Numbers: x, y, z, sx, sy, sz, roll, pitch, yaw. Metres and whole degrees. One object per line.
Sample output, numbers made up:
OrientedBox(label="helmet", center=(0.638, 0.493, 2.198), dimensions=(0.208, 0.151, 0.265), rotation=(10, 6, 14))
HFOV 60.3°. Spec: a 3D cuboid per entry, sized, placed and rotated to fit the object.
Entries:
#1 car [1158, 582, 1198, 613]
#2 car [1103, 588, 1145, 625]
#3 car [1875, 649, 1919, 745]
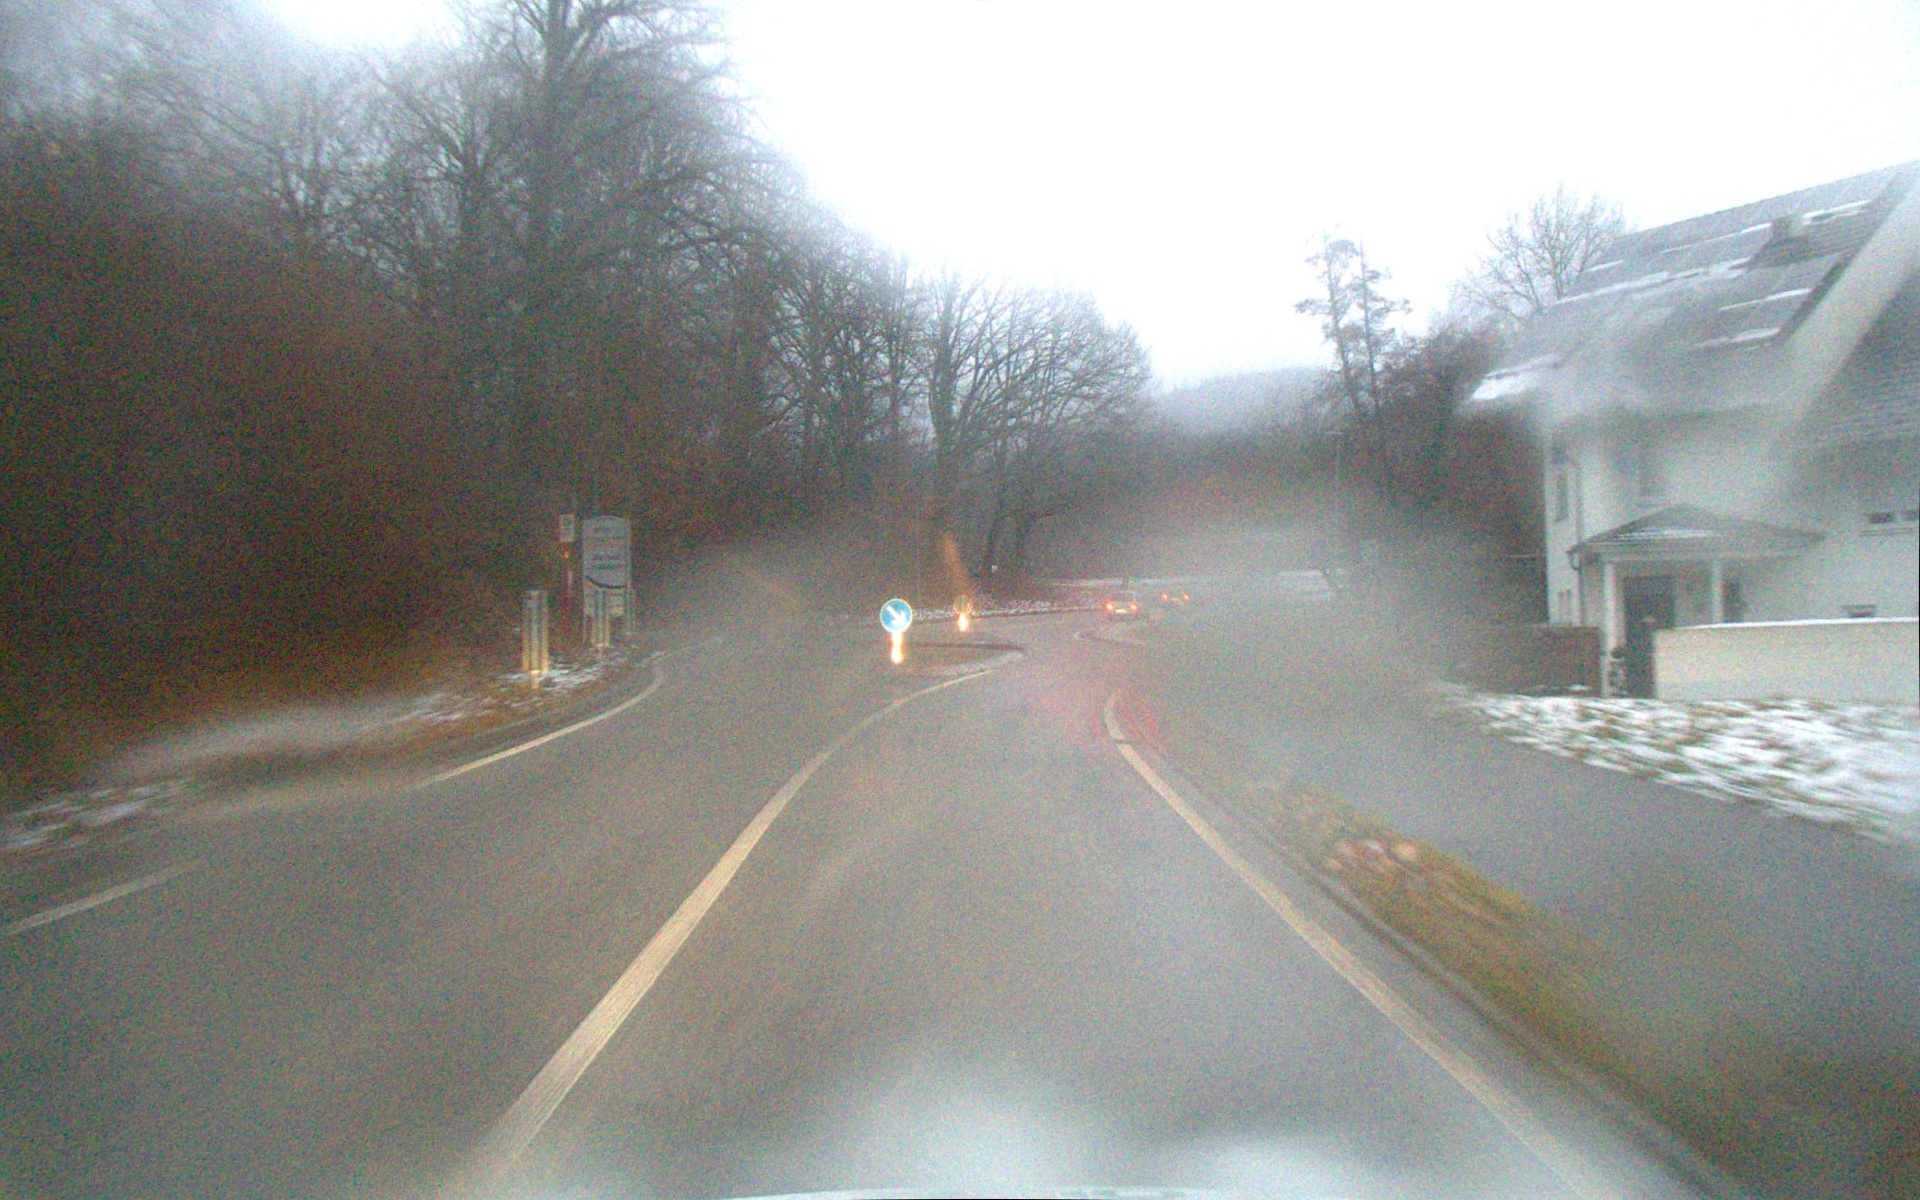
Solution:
OrientedBox(label="car", center=(12.681, -0.150, 95.915), dimensions=(1.891, 1.705, 4.004), rotation=(0, 1, 13))
OrientedBox(label="car", center=(8.356, 0.325, 84.027), dimensions=(1.891, 1.812, 4.004), rotation=(0, 1, 9))
OrientedBox(label="car", center=(17.895, 1.639, 27.077), dimensions=(4.820, 1.514, 1.941), rotation=(0, 1, 42))
